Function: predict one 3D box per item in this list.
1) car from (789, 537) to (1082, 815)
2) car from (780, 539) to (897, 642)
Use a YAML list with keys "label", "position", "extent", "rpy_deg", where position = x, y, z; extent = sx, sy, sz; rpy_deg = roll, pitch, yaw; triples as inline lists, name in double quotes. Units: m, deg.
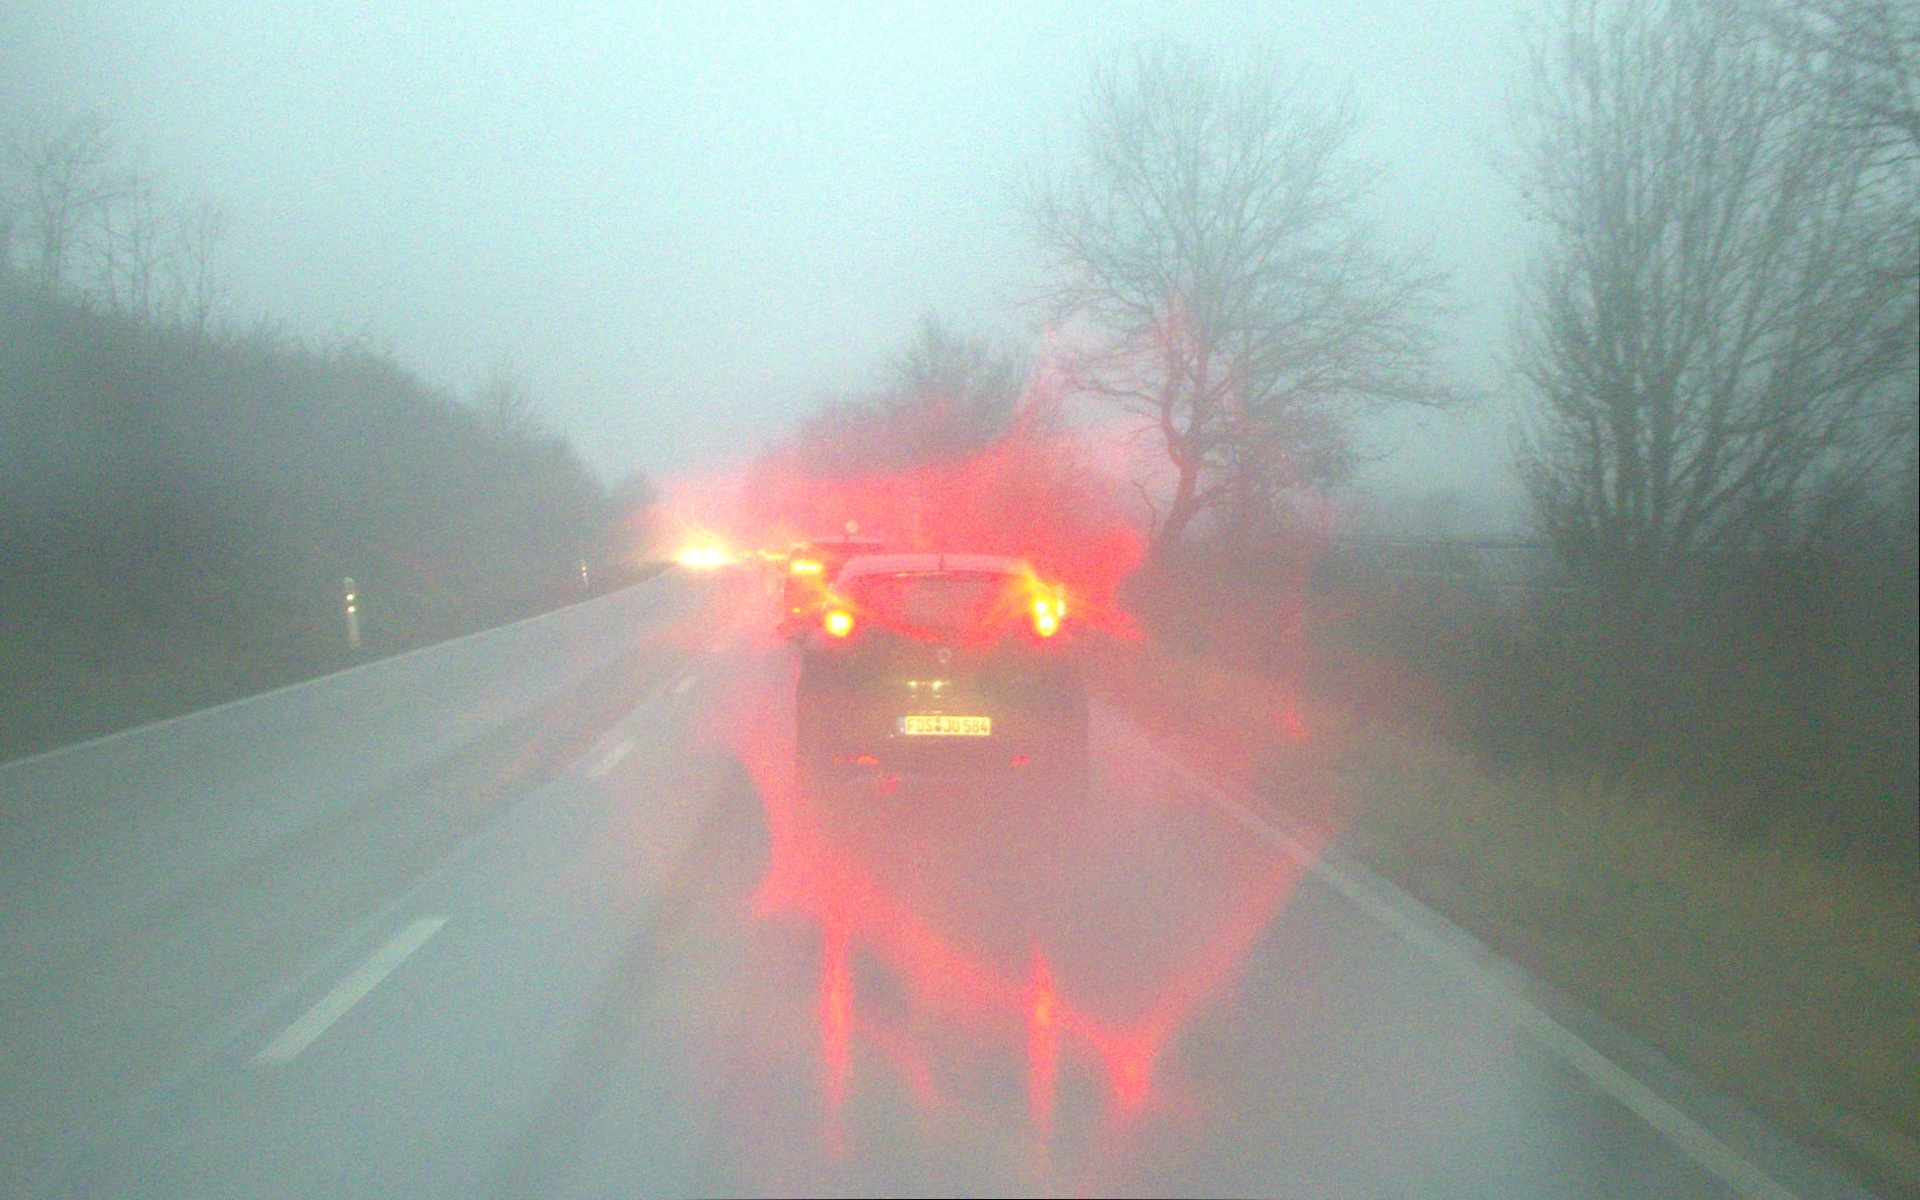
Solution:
- label: "car"
  position: [-0.118, 0.383, 20.911]
  extent: [1.602, 1.517, 3.869]
  rpy_deg: [1, 1, 1]
- label: "car"
  position: [-1.719, -0.164, 49.475]
  extent: [1.547, 1.392, 3.870]
  rpy_deg: [1, 1, 0]
